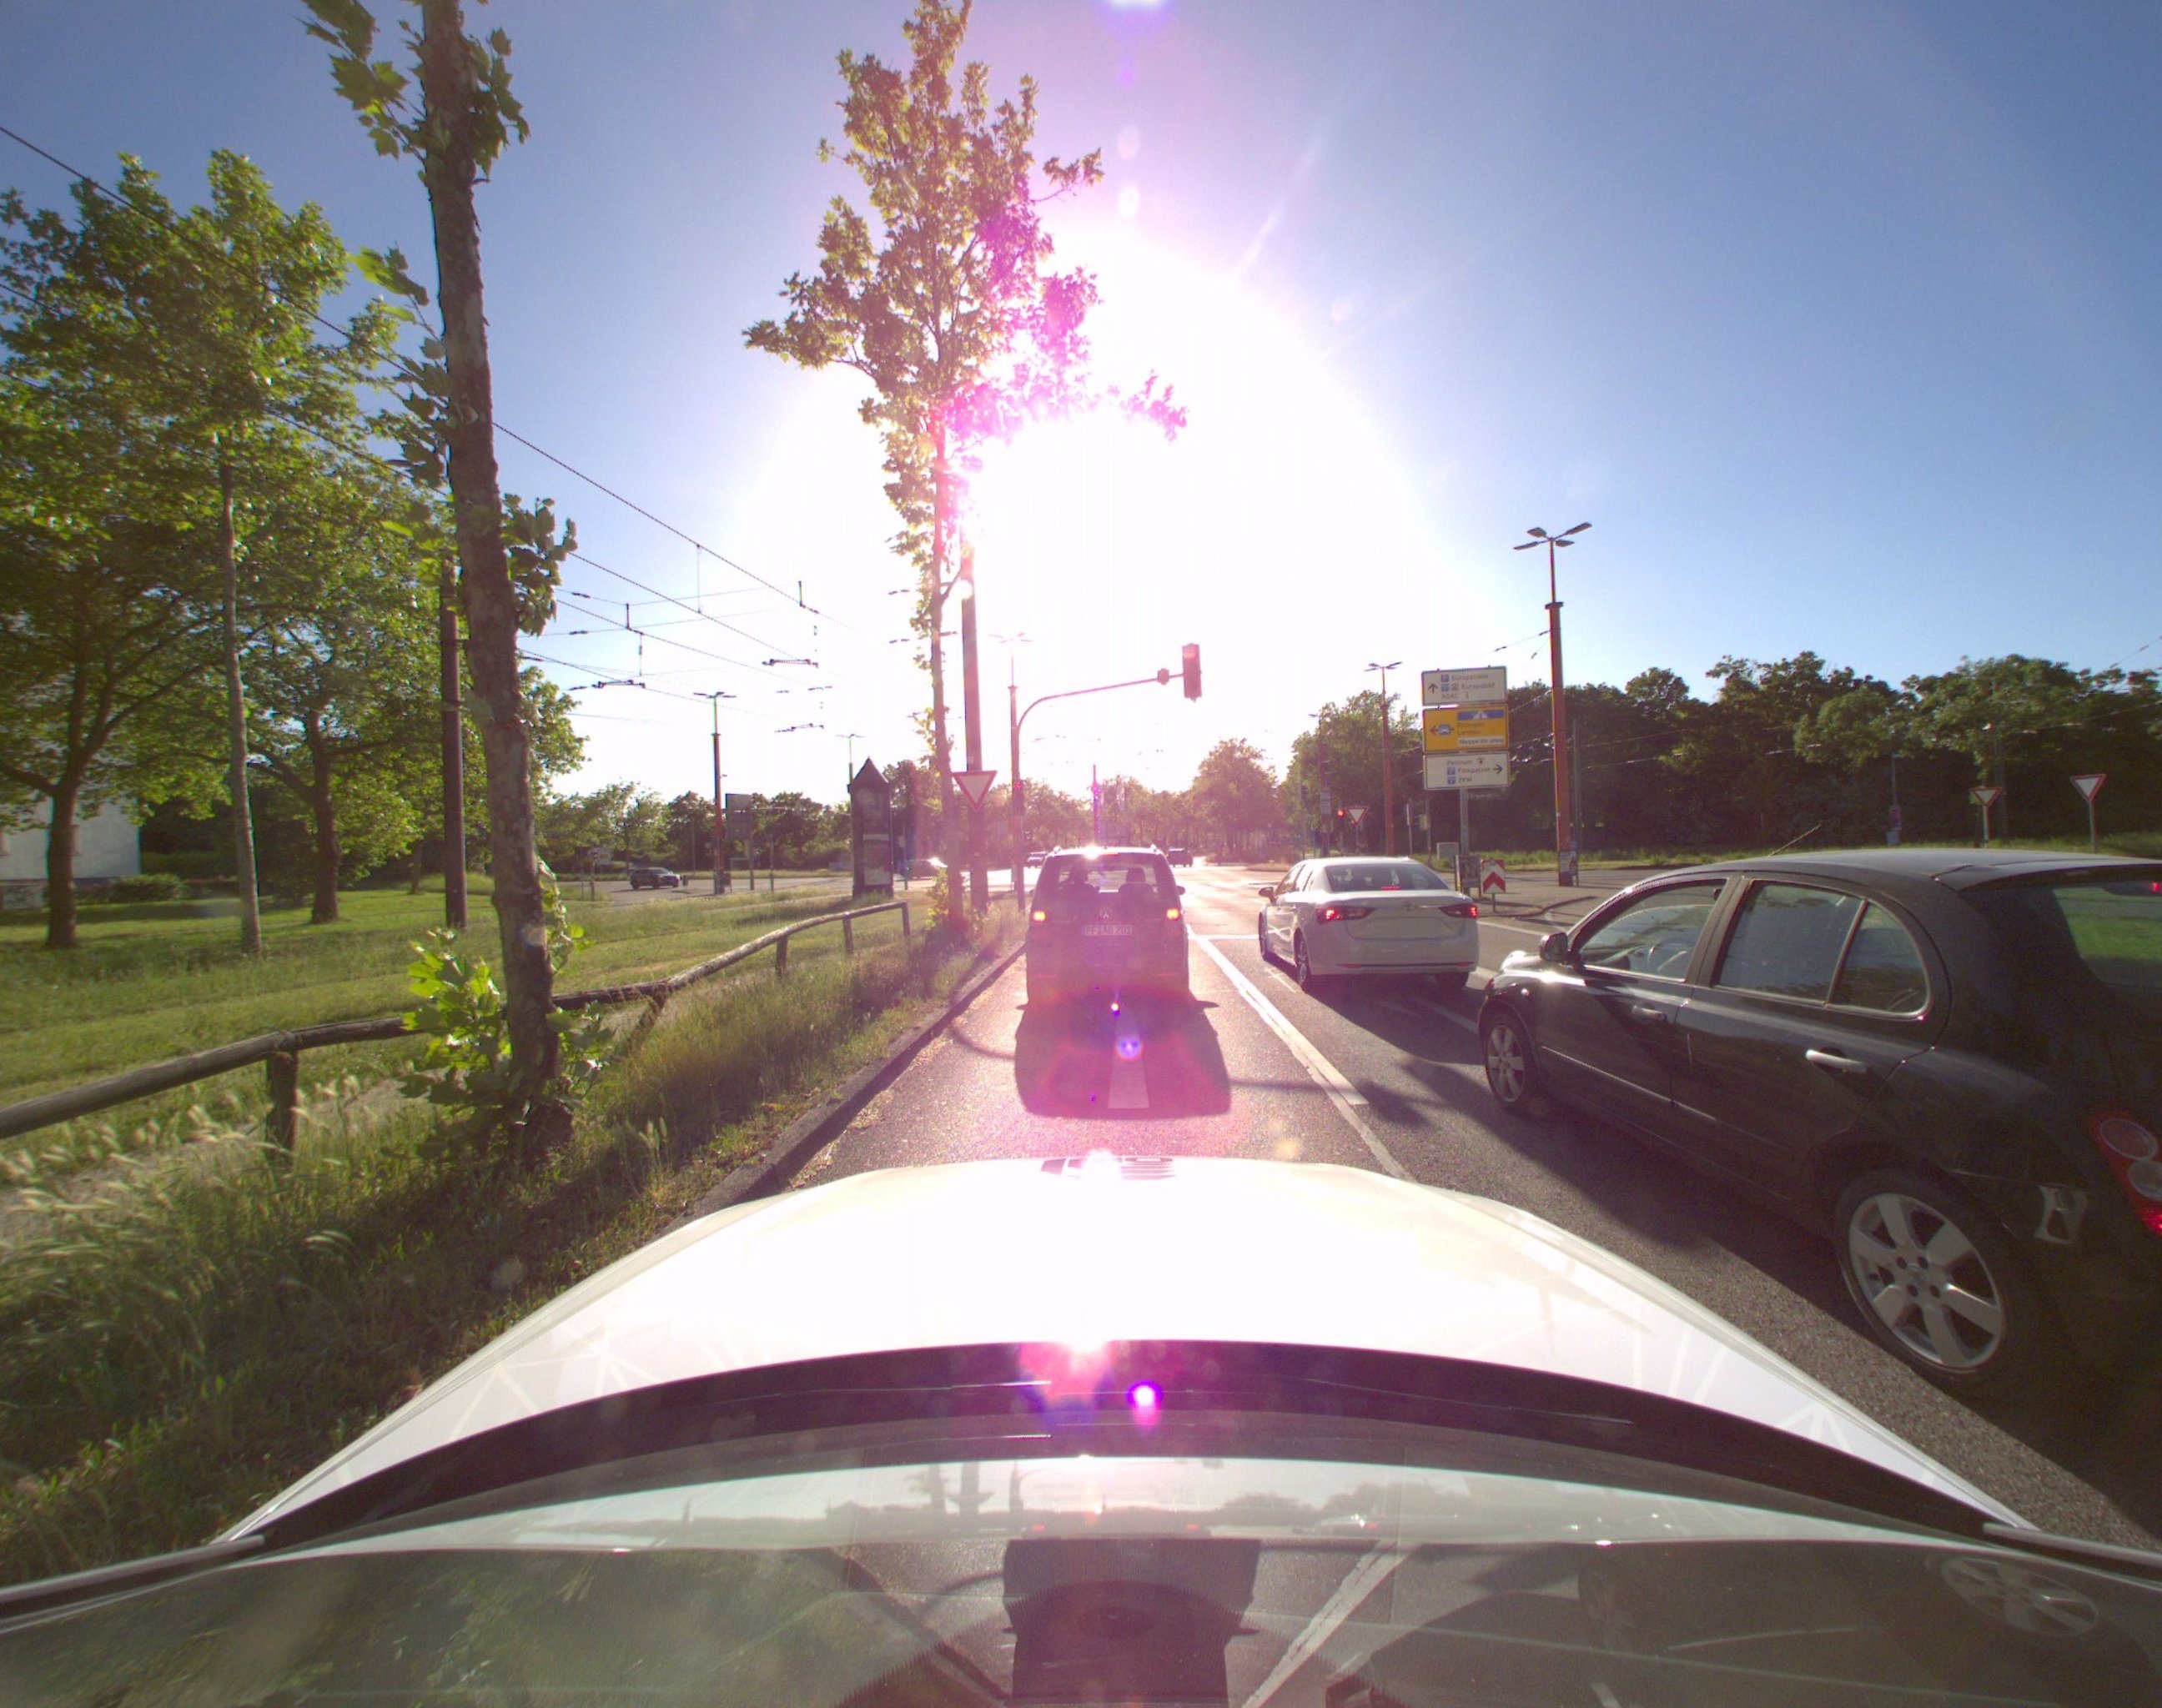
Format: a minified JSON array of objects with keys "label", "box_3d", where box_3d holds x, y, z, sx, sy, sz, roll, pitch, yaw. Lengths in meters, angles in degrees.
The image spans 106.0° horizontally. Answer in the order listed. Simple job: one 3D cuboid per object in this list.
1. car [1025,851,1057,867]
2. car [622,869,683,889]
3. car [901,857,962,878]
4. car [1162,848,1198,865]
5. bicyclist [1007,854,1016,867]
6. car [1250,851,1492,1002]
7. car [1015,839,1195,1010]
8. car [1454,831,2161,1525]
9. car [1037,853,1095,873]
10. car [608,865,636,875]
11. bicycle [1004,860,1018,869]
[{"label":"car","box_3d":[-4.572,0.546,93.542,1.977,1.684,4.853,-2,0,20]},{"label":"car","box_3d":[-34.675,2.023,65.844,4.589,1.543,2.012,-2,0,26]},{"label":"car","box_3d":[-11.393,1.033,62.142,4.207,1.464,1.917,-2,0,4]},{"label":"car","box_3d":[9.199,0.224,75.086,1.890,1.464,4.400,-1,0,26]},{"label":"bicyclist","box_3d":[-8.113,0.755,95.031,0.686,1.457,0.879,-2,-1,20]},{"label":"car","box_3d":[3.300,0.718,10.134,1.708,1.454,4.147,-2,0,3]},{"label":"car","box_3d":[0.299,0.695,10.006,1.731,1.641,4.002,-2,0,2]},{"label":"car","box_3d":[3.171,0.693,3.530,1.550,1.506,3.517,-2,0,2]},{"label":"car","box_3d":[-1.176,0.678,63.659,4.057,1.464,1.901,-2,0,-21]},{"label":"car","box_3d":[-62.533,2.219,110.995,3.766,1.310,1.673,-2,0,30]},{"label":"bicycle","box_3d":[-8.144,1.221,94.810,0.728,1.090,1.971,-2,0,21]}]
